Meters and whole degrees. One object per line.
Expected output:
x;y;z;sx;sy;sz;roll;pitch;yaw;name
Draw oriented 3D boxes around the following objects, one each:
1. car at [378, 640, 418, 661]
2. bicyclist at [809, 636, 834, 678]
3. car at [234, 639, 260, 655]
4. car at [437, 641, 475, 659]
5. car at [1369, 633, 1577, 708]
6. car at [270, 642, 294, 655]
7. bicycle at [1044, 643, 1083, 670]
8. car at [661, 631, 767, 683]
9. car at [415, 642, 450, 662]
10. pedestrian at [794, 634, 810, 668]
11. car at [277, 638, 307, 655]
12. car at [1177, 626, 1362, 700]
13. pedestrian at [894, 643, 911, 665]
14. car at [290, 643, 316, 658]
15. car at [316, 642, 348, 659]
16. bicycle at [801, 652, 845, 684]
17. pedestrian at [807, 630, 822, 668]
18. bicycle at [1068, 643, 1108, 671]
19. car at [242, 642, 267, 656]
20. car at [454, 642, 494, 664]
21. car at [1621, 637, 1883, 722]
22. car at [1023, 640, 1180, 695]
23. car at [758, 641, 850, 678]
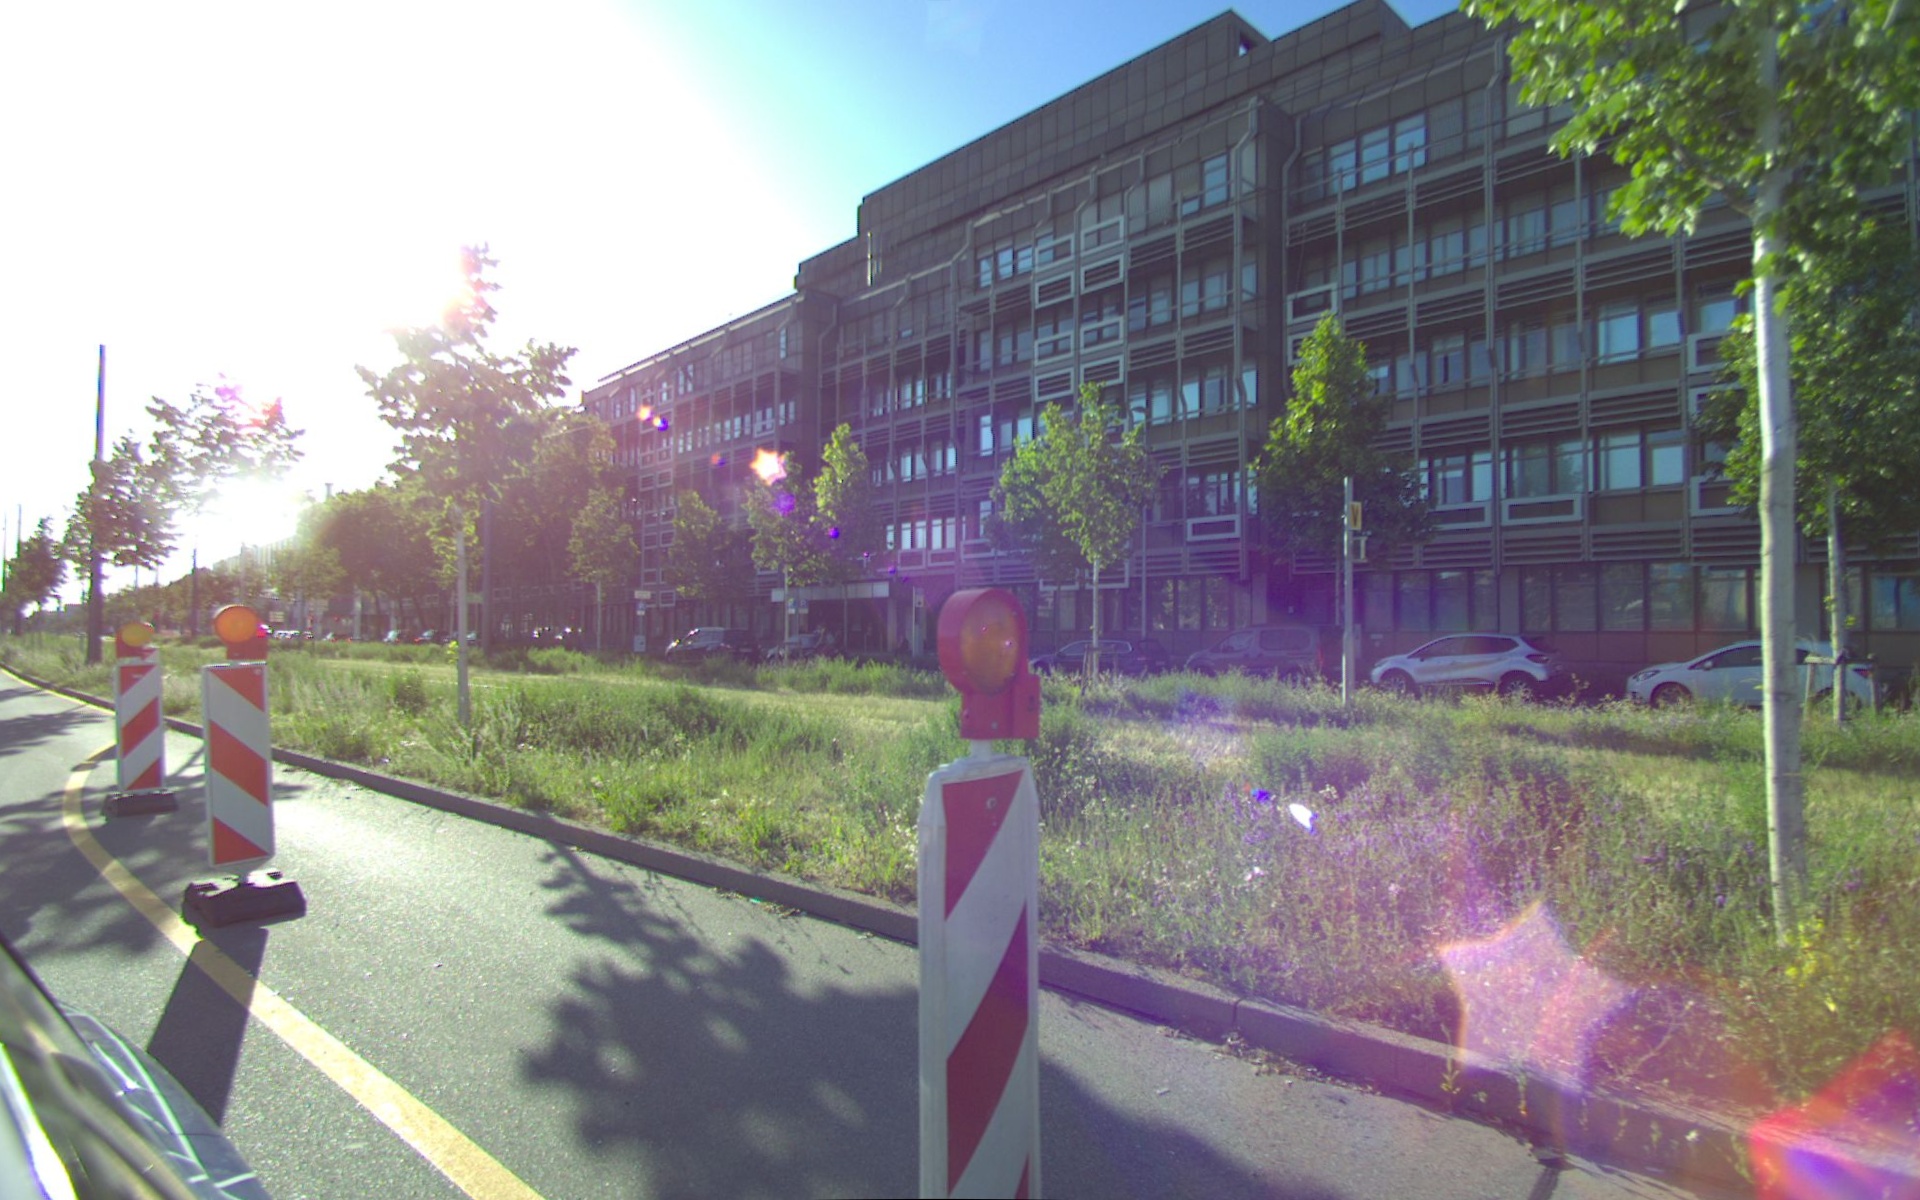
-42.163;3.771;75.918;1.696;1.397;4.043;-1;-1;-43;car
-4.958;2.051;36.334;0.706;1.468;0.559;-3;-5;44;bicyclist
-78.728;5.219;111.724;1.839;1.694;3.783;3;-4;-43;car
-41.391;4.083;83.077;3.632;1.497;1.703;-2;-3;43;car
11.698;1.566;23.229;3.886;1.548;1.718;-3;-3;45;car
-73.983;5.305;110.415;1.532;1.390;3.783;3;-4;-43;car
4.226;2.284;41.096;1.851;1.080;0.425;3;-4;-41;bicycle
-8.833;2.009;36.172;4.121;1.760;1.709;-2;-3;43;car
-45.289;4.427;86.868;3.633;1.614;1.702;-2;-1;45;car
-7.398;2.386;47.425;0.514;1.590;0.537;3;-4;-42;pedestrian
-59.948;4.173;90.806;1.608;1.507;3.783;3;-4;-43;car
8.069;1.623;26.695;4.333;1.785;1.730;-3;-3;45;car
-2.676;2.508;47.132;0.609;0.993;0.499;3;-4;-43;pedestrian
-67.757;5.179;104.340;1.608;1.507;3.783;3;-4;-43;car
-57.386;4.615;92.450;1.608;1.507;4.421;3;-4;-43;car
-4.928;2.423;36.285;1.771;1.105;0.559;-3;-5;44;bicycle
-6.865;2.311;47.760;0.514;1.735;0.537;3;-4;-42;pedestrian
5.102;2.255;40.224;1.905;1.080;0.425;3;-4;-41;bicycle
-72.613;5.063;104.088;1.532;1.390;3.783;3;-4;-43;car
-37.557;4.088;78.198;3.633;1.556;1.702;-3;-2;45;car
15.303;1.471;19.677;3.820;1.452;1.606;-3;-2;45;car
4.174;1.989;30.376;4.505;1.480;1.710;-3;-2;44;car
-6.388;2.381;41.230;1.696;1.398;4.042;2;-3;-44;car
